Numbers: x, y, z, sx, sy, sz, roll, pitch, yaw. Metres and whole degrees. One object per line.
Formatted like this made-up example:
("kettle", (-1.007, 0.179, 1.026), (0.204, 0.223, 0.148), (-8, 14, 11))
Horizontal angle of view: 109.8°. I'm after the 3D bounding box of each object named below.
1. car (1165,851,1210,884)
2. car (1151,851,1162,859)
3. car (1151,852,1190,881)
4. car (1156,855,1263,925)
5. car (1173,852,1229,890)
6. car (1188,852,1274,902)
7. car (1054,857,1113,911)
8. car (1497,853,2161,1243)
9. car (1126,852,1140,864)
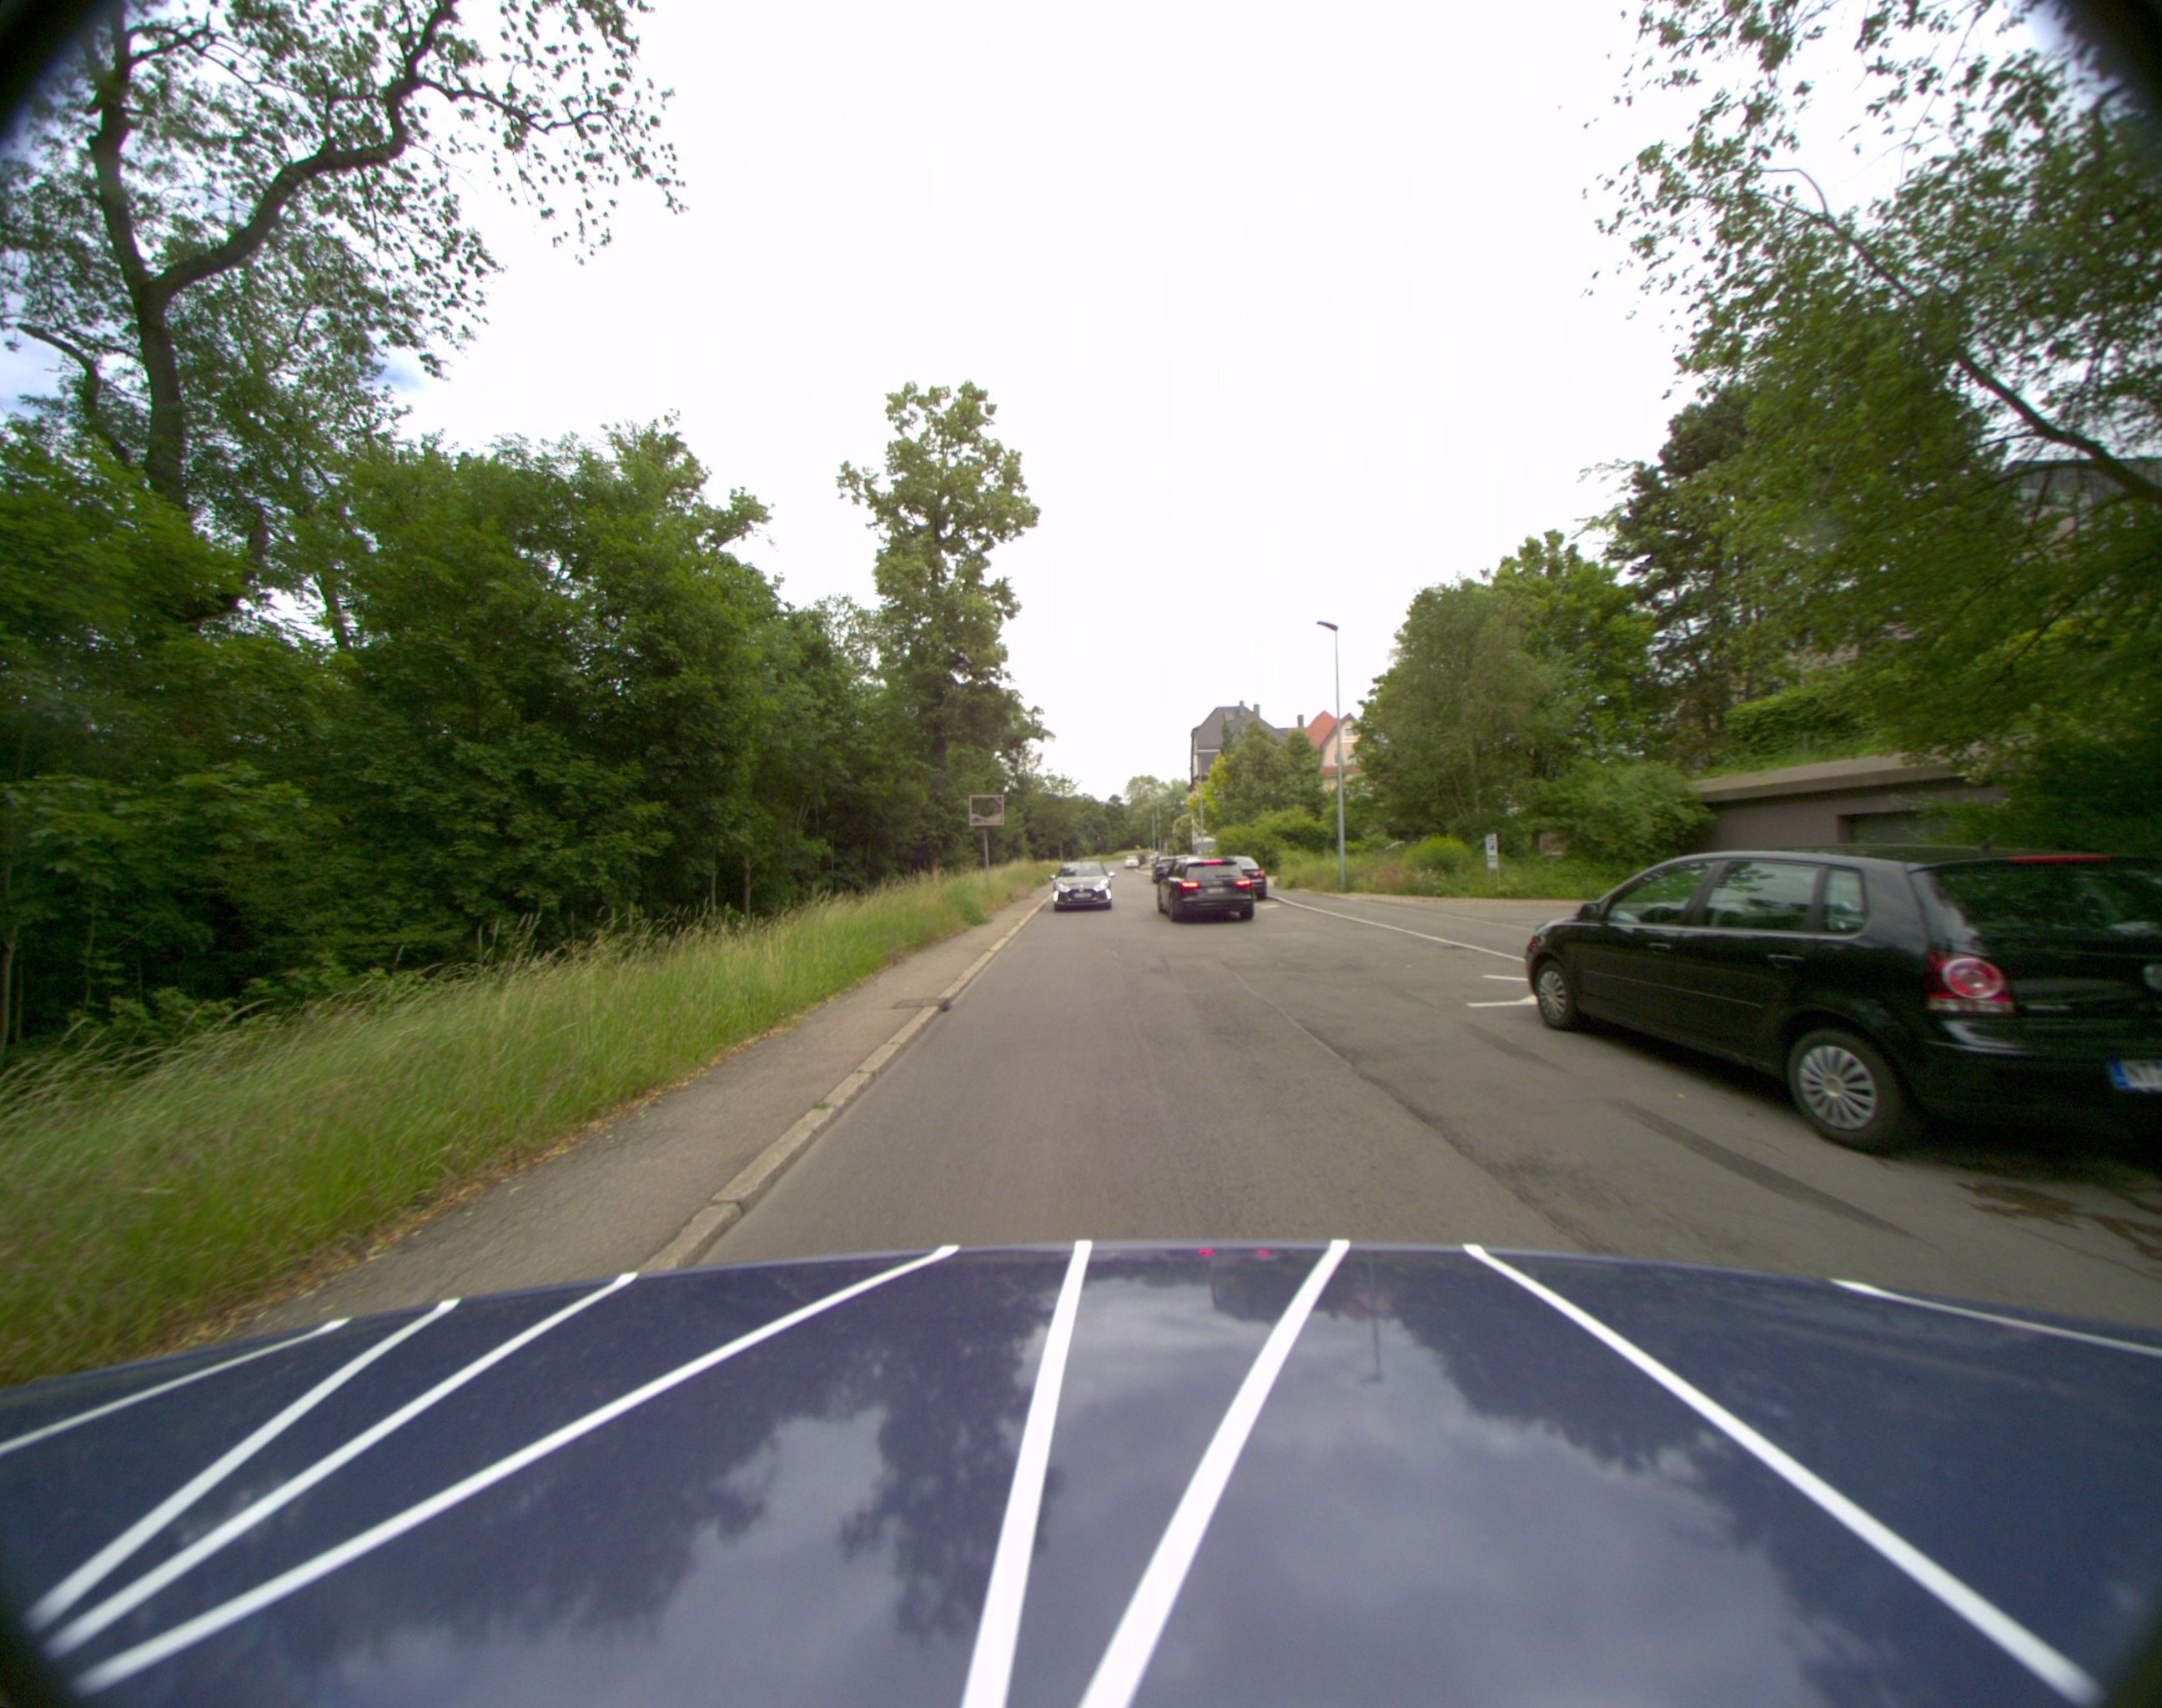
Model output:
("car", (5.052, 0.611, 36.458), (1.628, 1.474, 4.000), (-1, 0, 1))
("car", (14.463, 0.101, 144.921), (1.735, 1.420, 3.460), (-1, 1, 13))
("car", (4.852, 0.630, 41.687), (1.710, 1.474, 4.496), (-1, 0, 2))
("car", (2.953, 0.767, 18.419), (1.785, 1.417, 4.489), (-2, 0, 0))
("car", (4.891, 0.660, 31.568), (1.628, 1.423, 4.351), (-1, 0, 0))
("car", (4.811, 0.674, 25.078), (1.782, 1.423, 5.105), (-2, 0, 0))
("car", (0.143, 0.864, 23.319), (1.619, 1.460, 4.001), (-2, -1, 2))
("car", (4.488, 0.747, 4.859), (1.626, 1.441, 3.969), (-2, 0, 3))
("car", (6.375, 0.466, 93.567), (1.646, 1.461, 4.072), (0, 0, 4))
